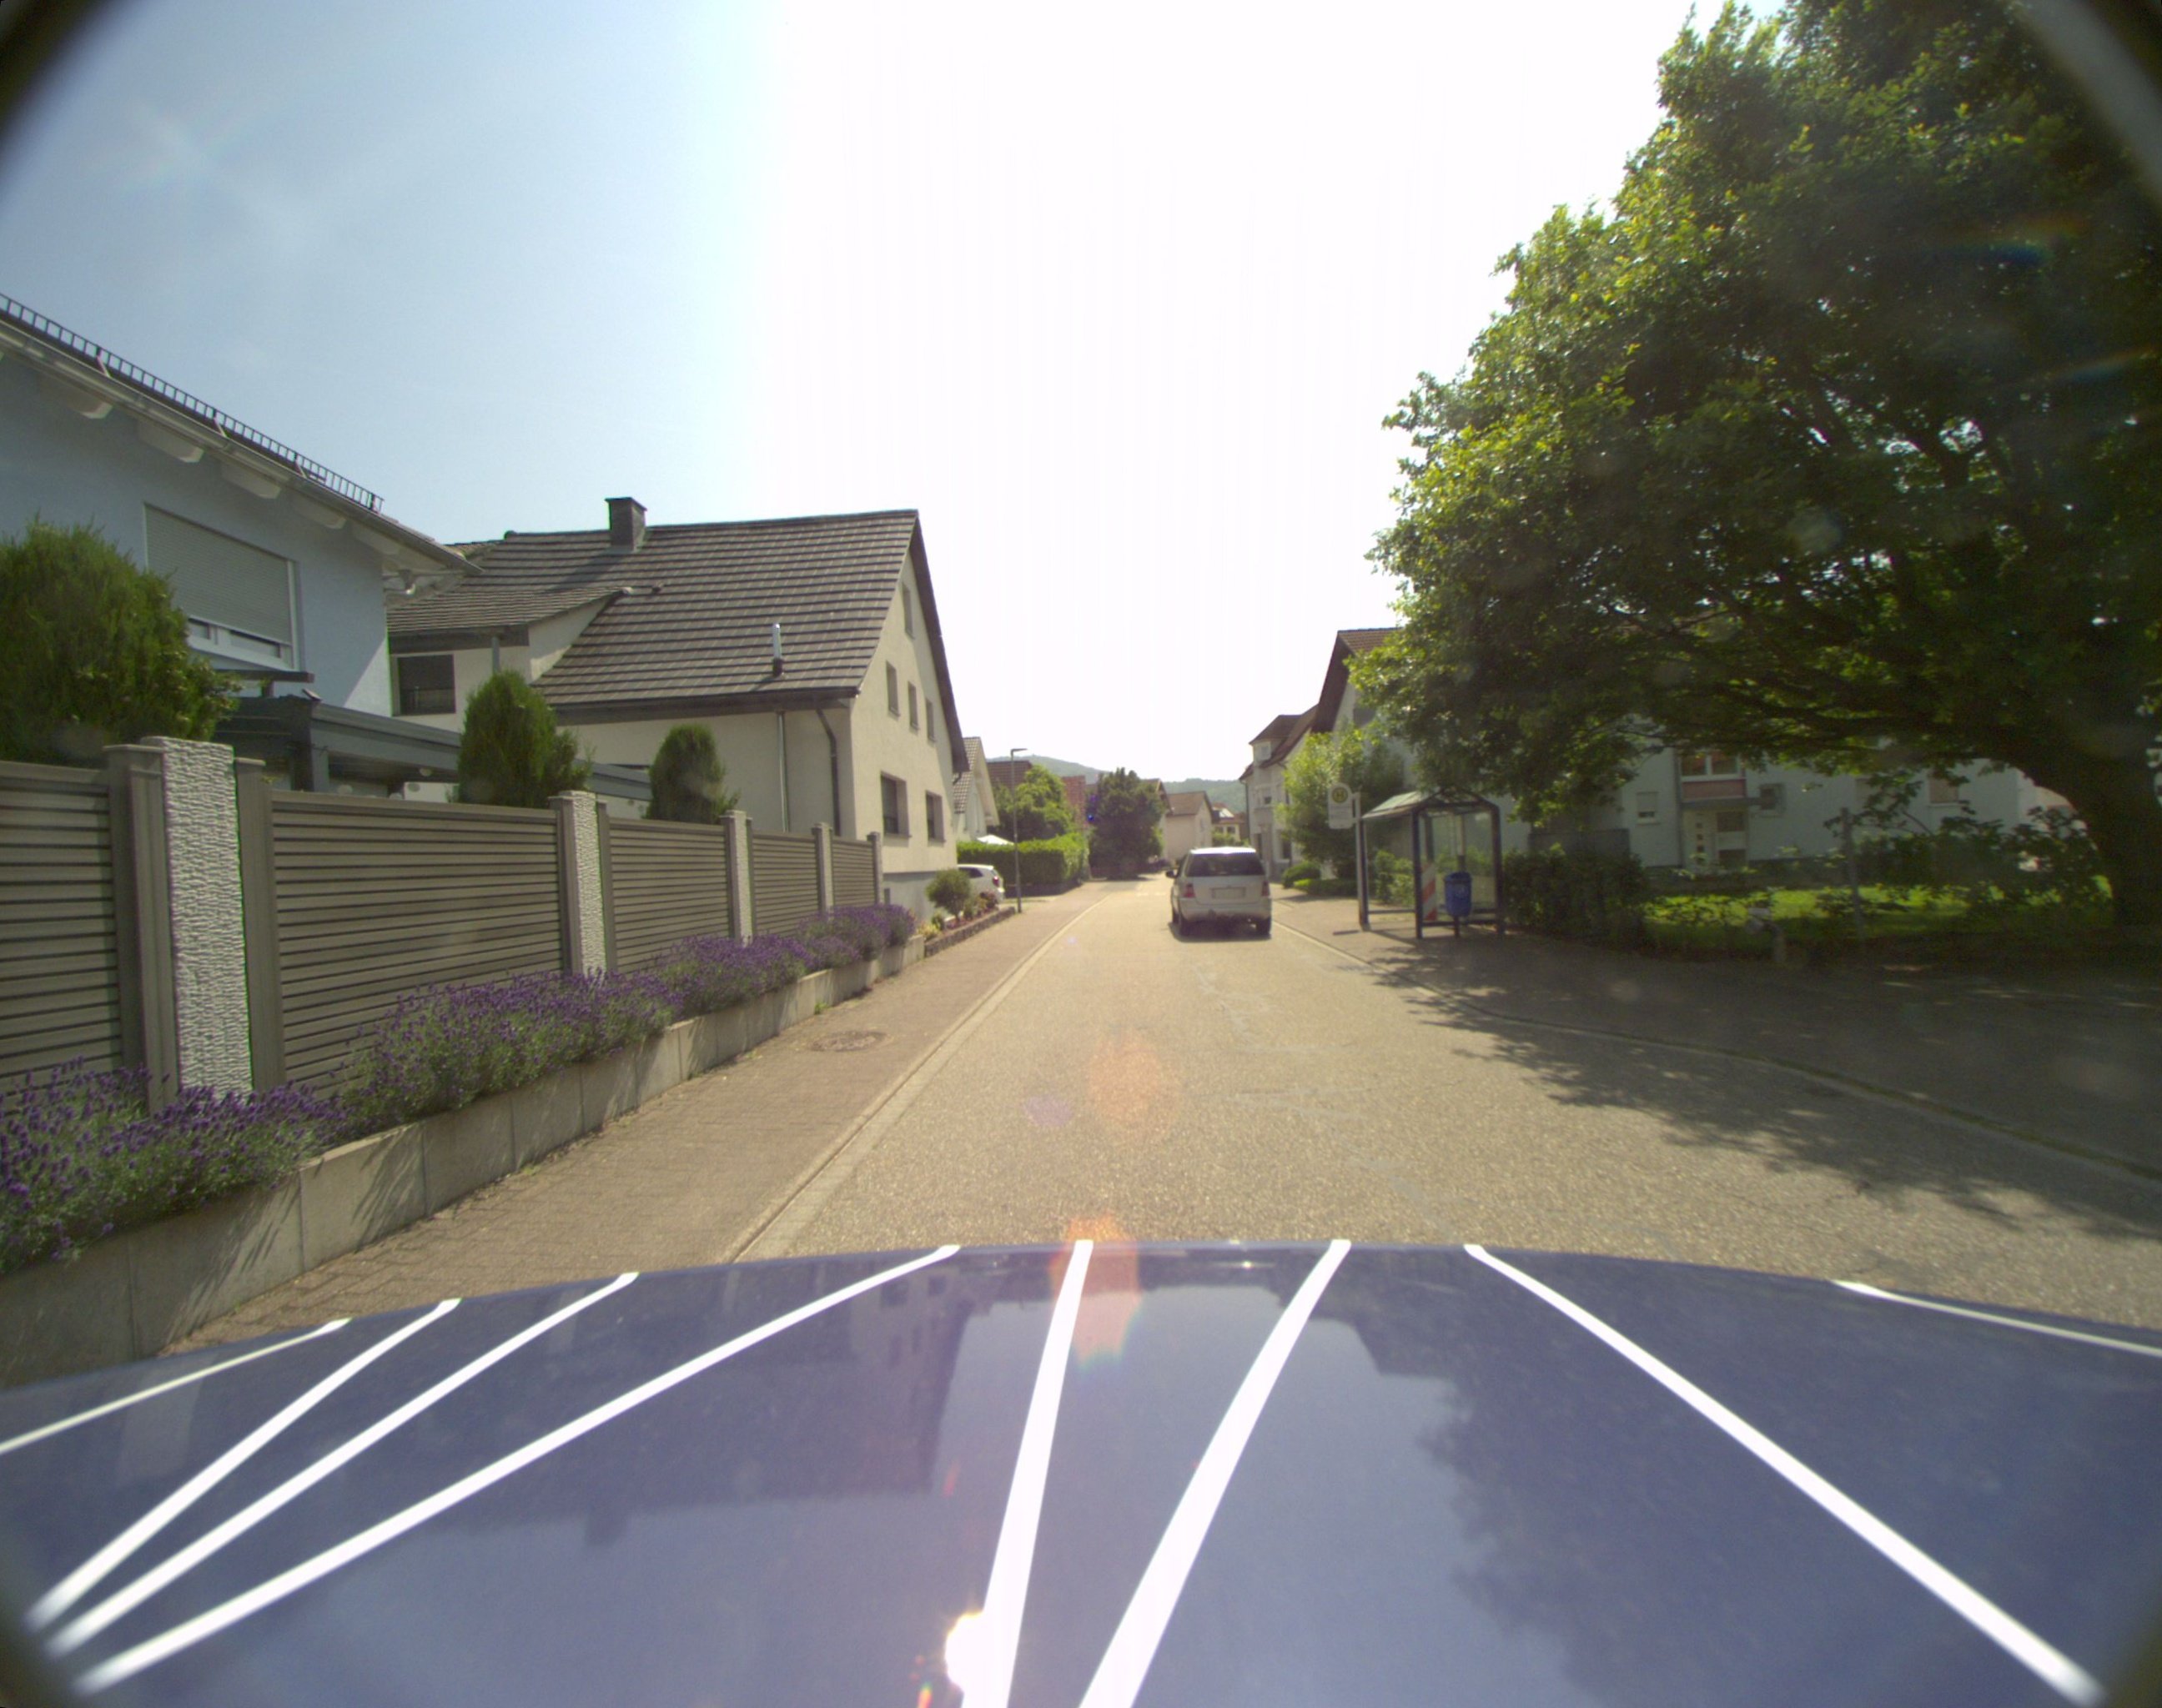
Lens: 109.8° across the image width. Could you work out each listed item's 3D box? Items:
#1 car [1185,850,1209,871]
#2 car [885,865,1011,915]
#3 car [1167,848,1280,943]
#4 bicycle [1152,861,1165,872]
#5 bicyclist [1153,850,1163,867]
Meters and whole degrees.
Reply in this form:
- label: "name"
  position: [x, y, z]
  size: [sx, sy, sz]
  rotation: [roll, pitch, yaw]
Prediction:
- label: "car"
  position: [9.970, 0.555, 65.449]
  size: [1.780, 1.614, 4.107]
  rotation: [-3, 0, 6]
- label: "car"
  position: [-4.173, 1.125, 24.252]
  size: [3.667, 1.465, 1.765]
  rotation: [-1, -1, -1]
- label: "car"
  position: [2.945, 0.803, 16.565]
  size: [1.889, 1.756, 4.332]
  rotation: [-1, 0, 4]
- label: "bicycle"
  position: [7.082, 1.129, 69.677]
  size: [0.520, 0.898, 1.315]
  rotation: [-2, 0, 36]
- label: "bicyclist"
  position: [7.046, 0.426, 69.661]
  size: [0.546, 1.481, 0.798]
  rotation: [-2, 1, 37]
